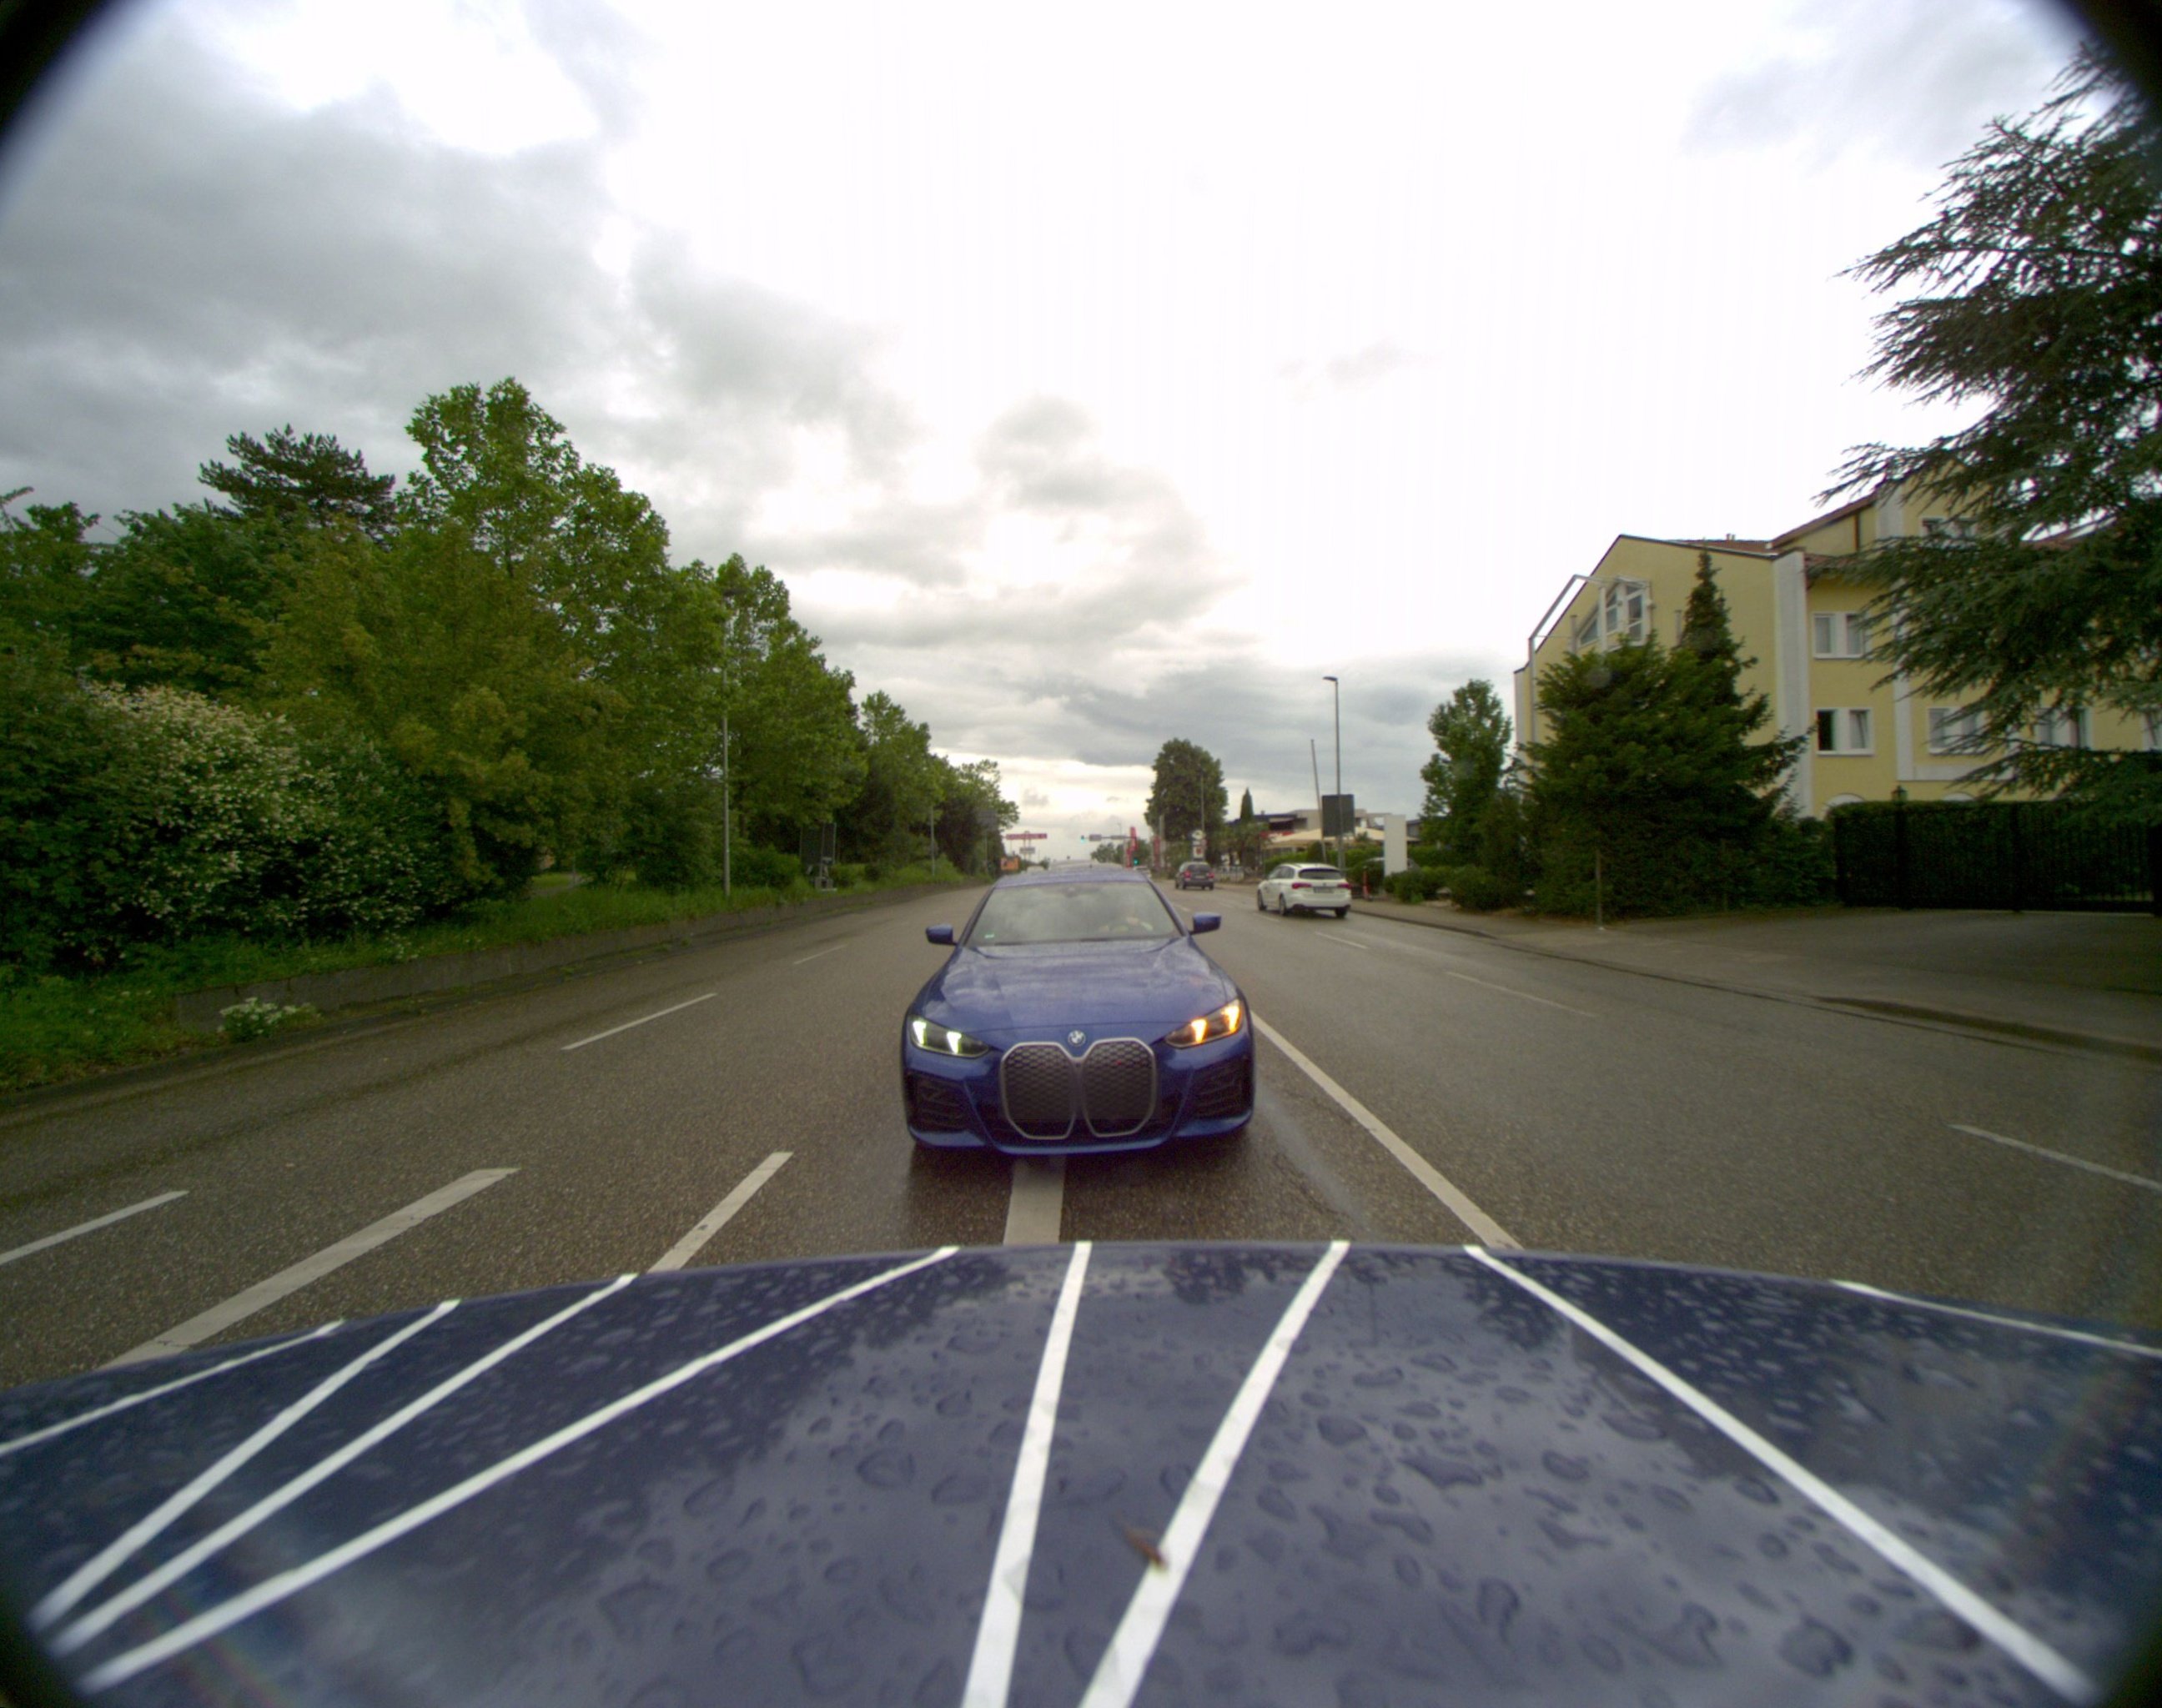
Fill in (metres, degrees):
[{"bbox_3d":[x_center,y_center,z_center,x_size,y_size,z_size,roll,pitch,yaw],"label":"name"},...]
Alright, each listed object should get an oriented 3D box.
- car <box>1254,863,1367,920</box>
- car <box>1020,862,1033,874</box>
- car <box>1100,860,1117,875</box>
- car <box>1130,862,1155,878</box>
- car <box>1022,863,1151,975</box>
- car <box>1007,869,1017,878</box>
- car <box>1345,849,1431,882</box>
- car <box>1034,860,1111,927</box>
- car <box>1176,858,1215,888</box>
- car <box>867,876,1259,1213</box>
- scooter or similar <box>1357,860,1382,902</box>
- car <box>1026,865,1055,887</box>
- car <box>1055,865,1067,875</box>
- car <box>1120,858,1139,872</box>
[{"bbox_3d":[6.540,1.004,22.184,1.972,1.446,4.308,0,0,-1],"label":"car"},{"bbox_3d":[-7.855,2.040,110.292,1.705,1.612,3.842,-3,-1,-2],"label":"car"},{"bbox_3d":[2.805,1.358,78.888,1.643,1.451,3.518,-1,0,0],"label":"car"},{"bbox_3d":[5.779,1.471,71.933,1.790,1.451,4.431,-1,0,-3],"label":"car"},{"bbox_3d":[0.092,0.946,12.862,1.807,1.543,4.223,-1,0,0],"label":"car"},{"bbox_3d":[-14.138,4.056,156.547,1.812,1.718,3.998,-3,1,-3],"label":"car"},{"bbox_3d":[16.283,0.591,40.454,3.930,1.642,1.719,-1,0,6],"label":"car"},{"bbox_3d":[-0.188,0.962,20.221,1.807,1.543,4.000,-1,0,0],"label":"car"},{"bbox_3d":[6.571,1.057,43.787,1.703,1.590,3.550,-1,0,0],"label":"car"},{"bbox_3d":[-0.082,0.955,5.688,1.803,1.399,4.272,-1,0,0],"label":"car"},{"bbox_3d":[10.055,0.918,26.542,0.505,1.398,1.882,0,0,11],"label":"scooter or similar"},{"bbox_3d":[-2.917,1.544,55.236,1.775,1.448,4.000,-1,0,1],"label":"car"},{"bbox_3d":[-3.297,2.664,127.386,1.836,1.565,3.512,-3,1,-1],"label":"car"},{"bbox_3d":[5.503,1.188,86.625,1.700,1.467,3.779,-2,0,-2],"label":"car"}]
